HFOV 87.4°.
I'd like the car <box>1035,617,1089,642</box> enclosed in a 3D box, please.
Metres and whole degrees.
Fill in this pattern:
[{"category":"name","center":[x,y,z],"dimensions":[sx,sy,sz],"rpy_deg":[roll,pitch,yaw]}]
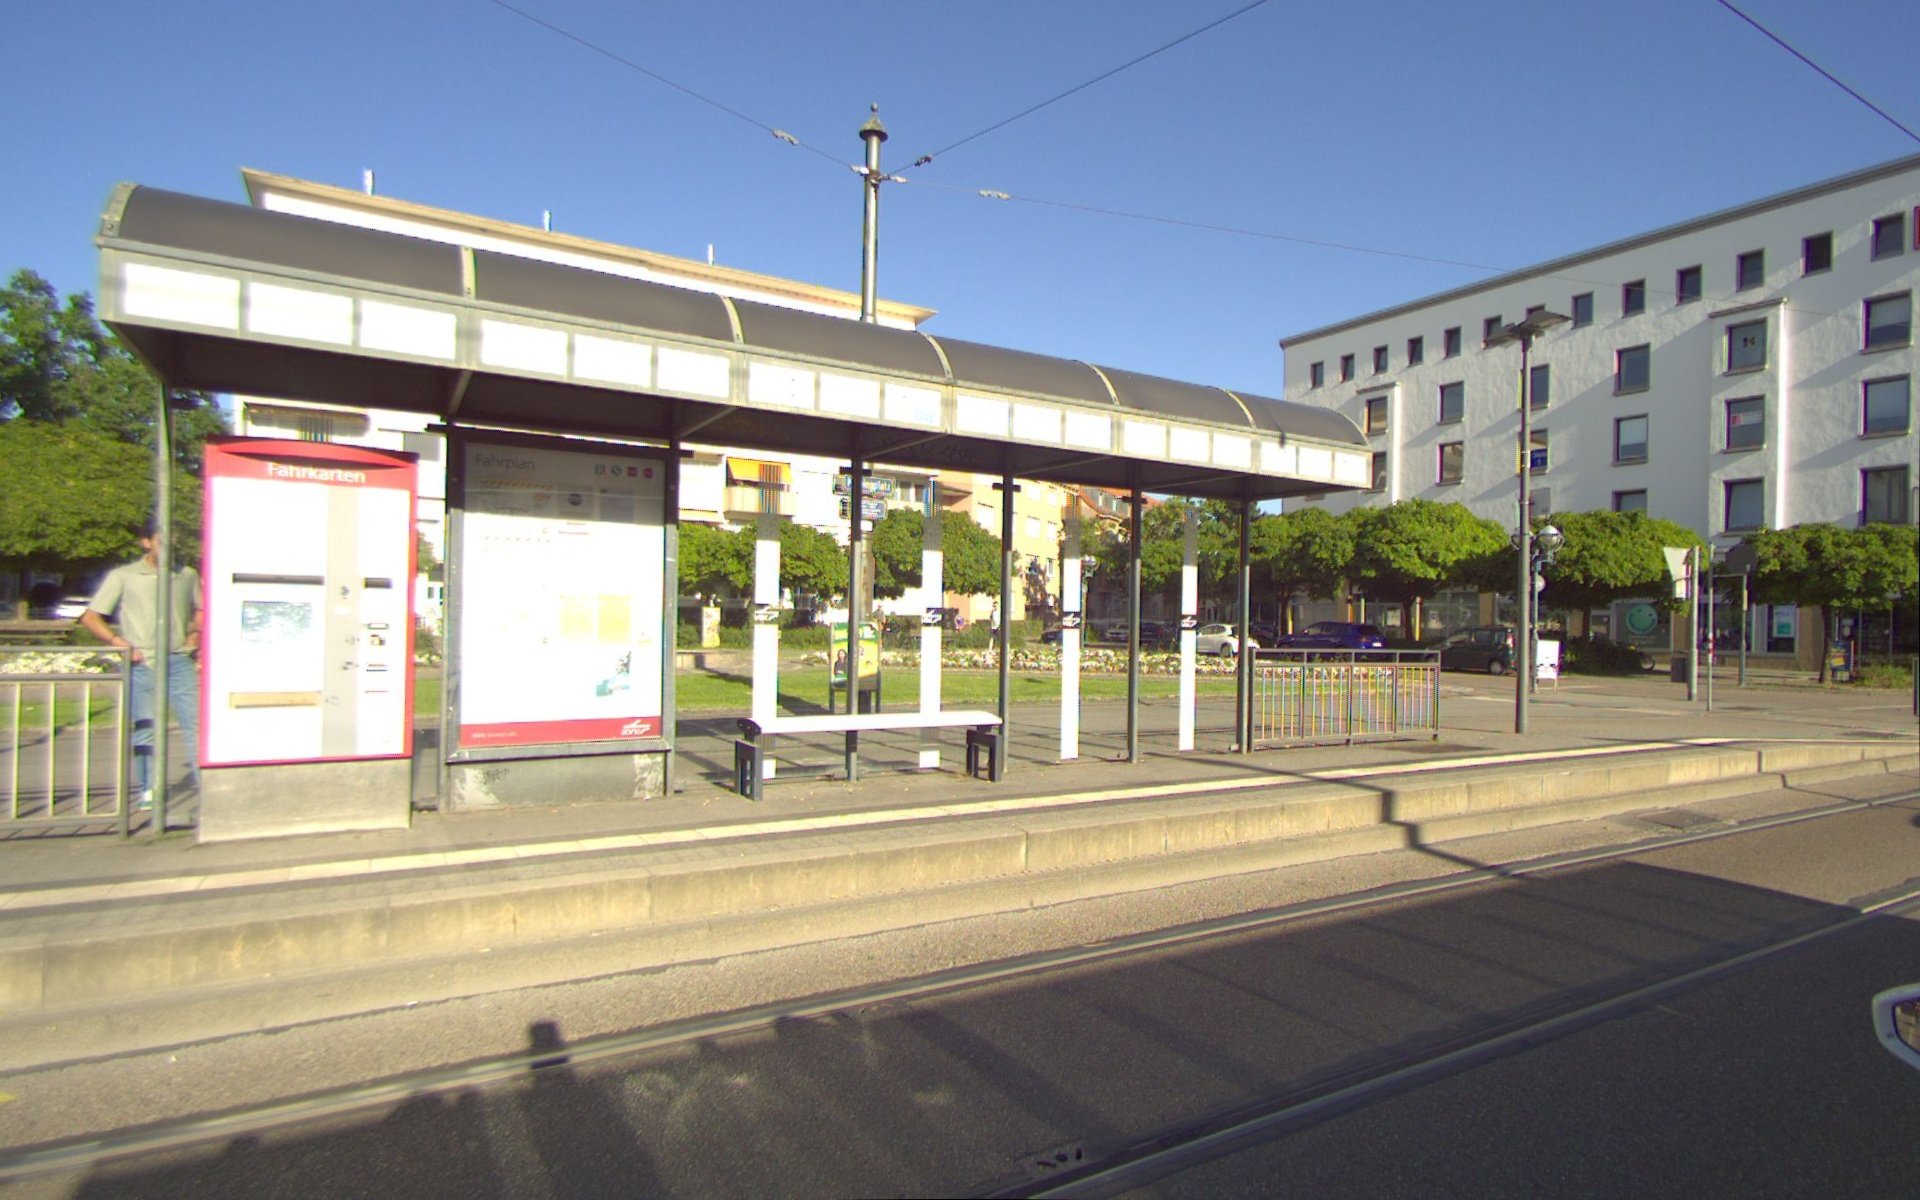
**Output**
[{"category":"car","center":[6.714,1.932,65.751],"dimensions":[1.887,1.514,4.343],"rpy_deg":[2,-1,31]}]

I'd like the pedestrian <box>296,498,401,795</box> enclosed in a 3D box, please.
[{"category":"pedestrian","center":[-4.052,0.307,6.682],"dimensions":[0.519,1.883,0.426],"rpy_deg":[1,-3,-27]}]

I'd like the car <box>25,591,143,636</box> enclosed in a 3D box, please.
[{"category":"car","center":[-31.044,0.499,35.695],"dimensions":[2.899,1.506,1.407],"rpy_deg":[2,-1,-31]}]

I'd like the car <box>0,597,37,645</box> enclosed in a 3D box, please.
[{"category":"car","center":[-28.071,0.533,27.530],"dimensions":[3.672,1.318,1.984],"rpy_deg":[2,-1,-30]}]

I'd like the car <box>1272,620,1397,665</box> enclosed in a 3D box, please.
[{"category":"car","center":[15.353,1.705,41.392],"dimensions":[1.978,1.684,4.581],"rpy_deg":[2,-1,-32]}]

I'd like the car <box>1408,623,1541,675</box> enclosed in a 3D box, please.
[{"category":"car","center":[18.560,1.732,36.407],"dimensions":[1.804,1.728,3.968],"rpy_deg":[2,-1,-30]}]

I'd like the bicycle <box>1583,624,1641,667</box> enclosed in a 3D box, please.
[{"category":"bicycle","center":[25.375,1.771,39.079],"dimensions":[2.585,1.628,0.616],"rpy_deg":[2,-1,-26]}]

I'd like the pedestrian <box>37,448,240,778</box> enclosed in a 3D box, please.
[{"category":"pedestrian","center":[-4.782,0.089,5.907],"dimensions":[0.760,1.797,0.613],"rpy_deg":[1,-3,-28]}]

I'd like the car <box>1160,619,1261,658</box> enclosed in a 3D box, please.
[{"category":"car","center":[11.509,1.746,46.431],"dimensions":[1.835,1.628,4.581],"rpy_deg":[2,-1,-32]}]

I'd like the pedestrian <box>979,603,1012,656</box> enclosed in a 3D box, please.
[{"category":"pedestrian","center":[1.236,1.025,35.215],"dimensions":[0.856,1.841,0.944],"rpy_deg":[1,-1,-19]}]

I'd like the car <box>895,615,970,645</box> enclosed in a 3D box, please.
[{"category":"car","center":[-1.326,1.465,48.433],"dimensions":[3.271,1.372,1.638],"rpy_deg":[2,-1,-29]}]

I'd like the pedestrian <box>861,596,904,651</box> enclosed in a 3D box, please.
[{"category":"pedestrian","center":[-2.951,0.896,38.146],"dimensions":[1.219,2.040,1.214],"rpy_deg":[2,-1,-30]}]

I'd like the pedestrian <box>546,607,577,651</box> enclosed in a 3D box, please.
[{"category":"pedestrian","center":[-12.756,0.936,32.132],"dimensions":[0.673,1.378,1.042],"rpy_deg":[2,-1,-35]}]

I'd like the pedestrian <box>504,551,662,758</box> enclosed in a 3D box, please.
[{"category":"pedestrian","center":[-3.357,0.464,8.953],"dimensions":[0.982,1.702,0.969],"rpy_deg":[-1,-2,43]}]

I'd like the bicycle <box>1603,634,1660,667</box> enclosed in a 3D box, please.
[{"category":"bicycle","center":[25.700,1.924,38.434],"dimensions":[2.586,1.206,0.615],"rpy_deg":[2,-1,-27]}]
